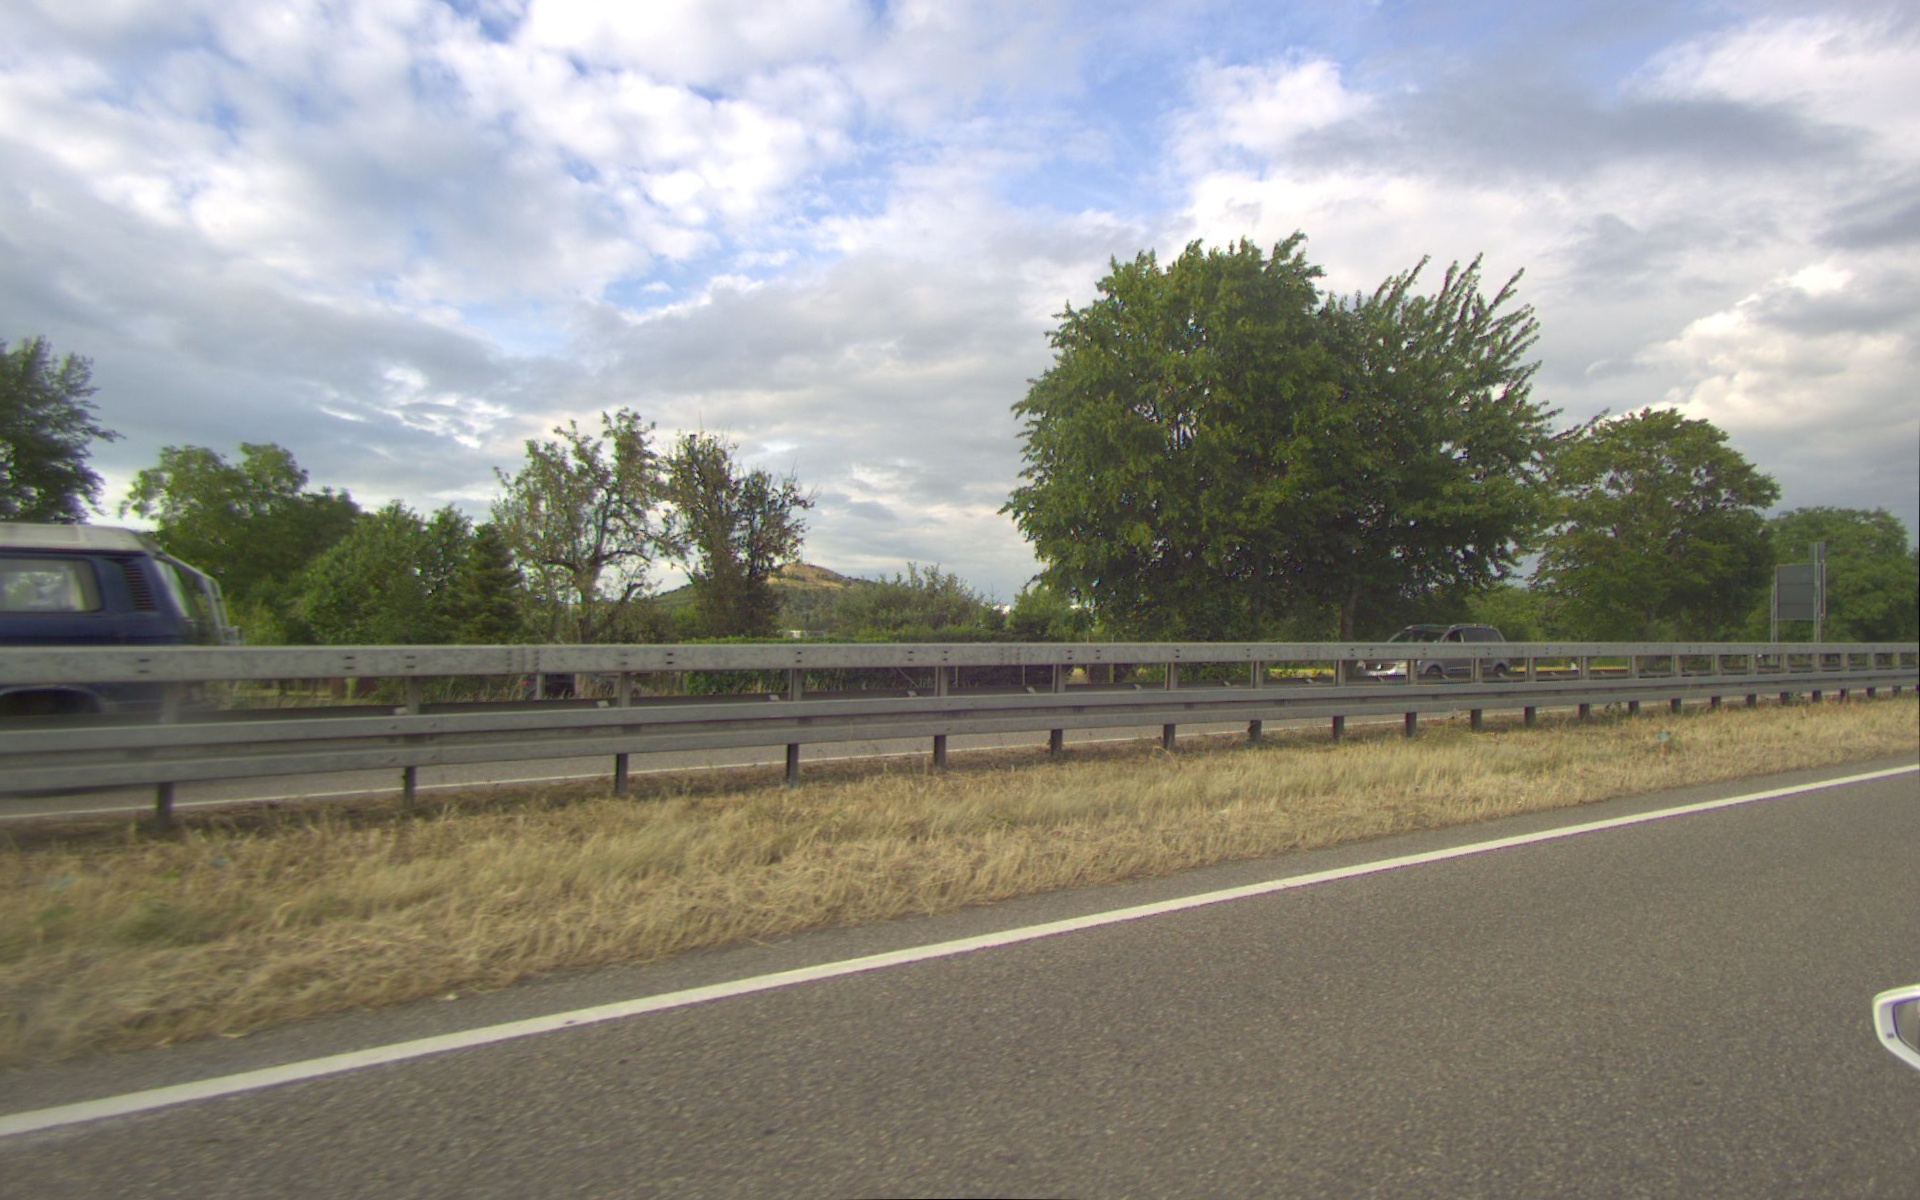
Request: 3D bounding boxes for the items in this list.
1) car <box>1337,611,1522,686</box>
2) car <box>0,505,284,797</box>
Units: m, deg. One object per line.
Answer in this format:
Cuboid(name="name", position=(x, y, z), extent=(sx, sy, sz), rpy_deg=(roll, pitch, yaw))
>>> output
Cuboid(name="car", position=(11.210, 1.128, 23.916), extent=(4.430, 1.647, 1.789), rpy_deg=(1, -2, -30))
Cuboid(name="car", position=(-8.550, 0.393, 7.824), extent=(5.256, 2.169, 1.985), rpy_deg=(1, -2, -30))
